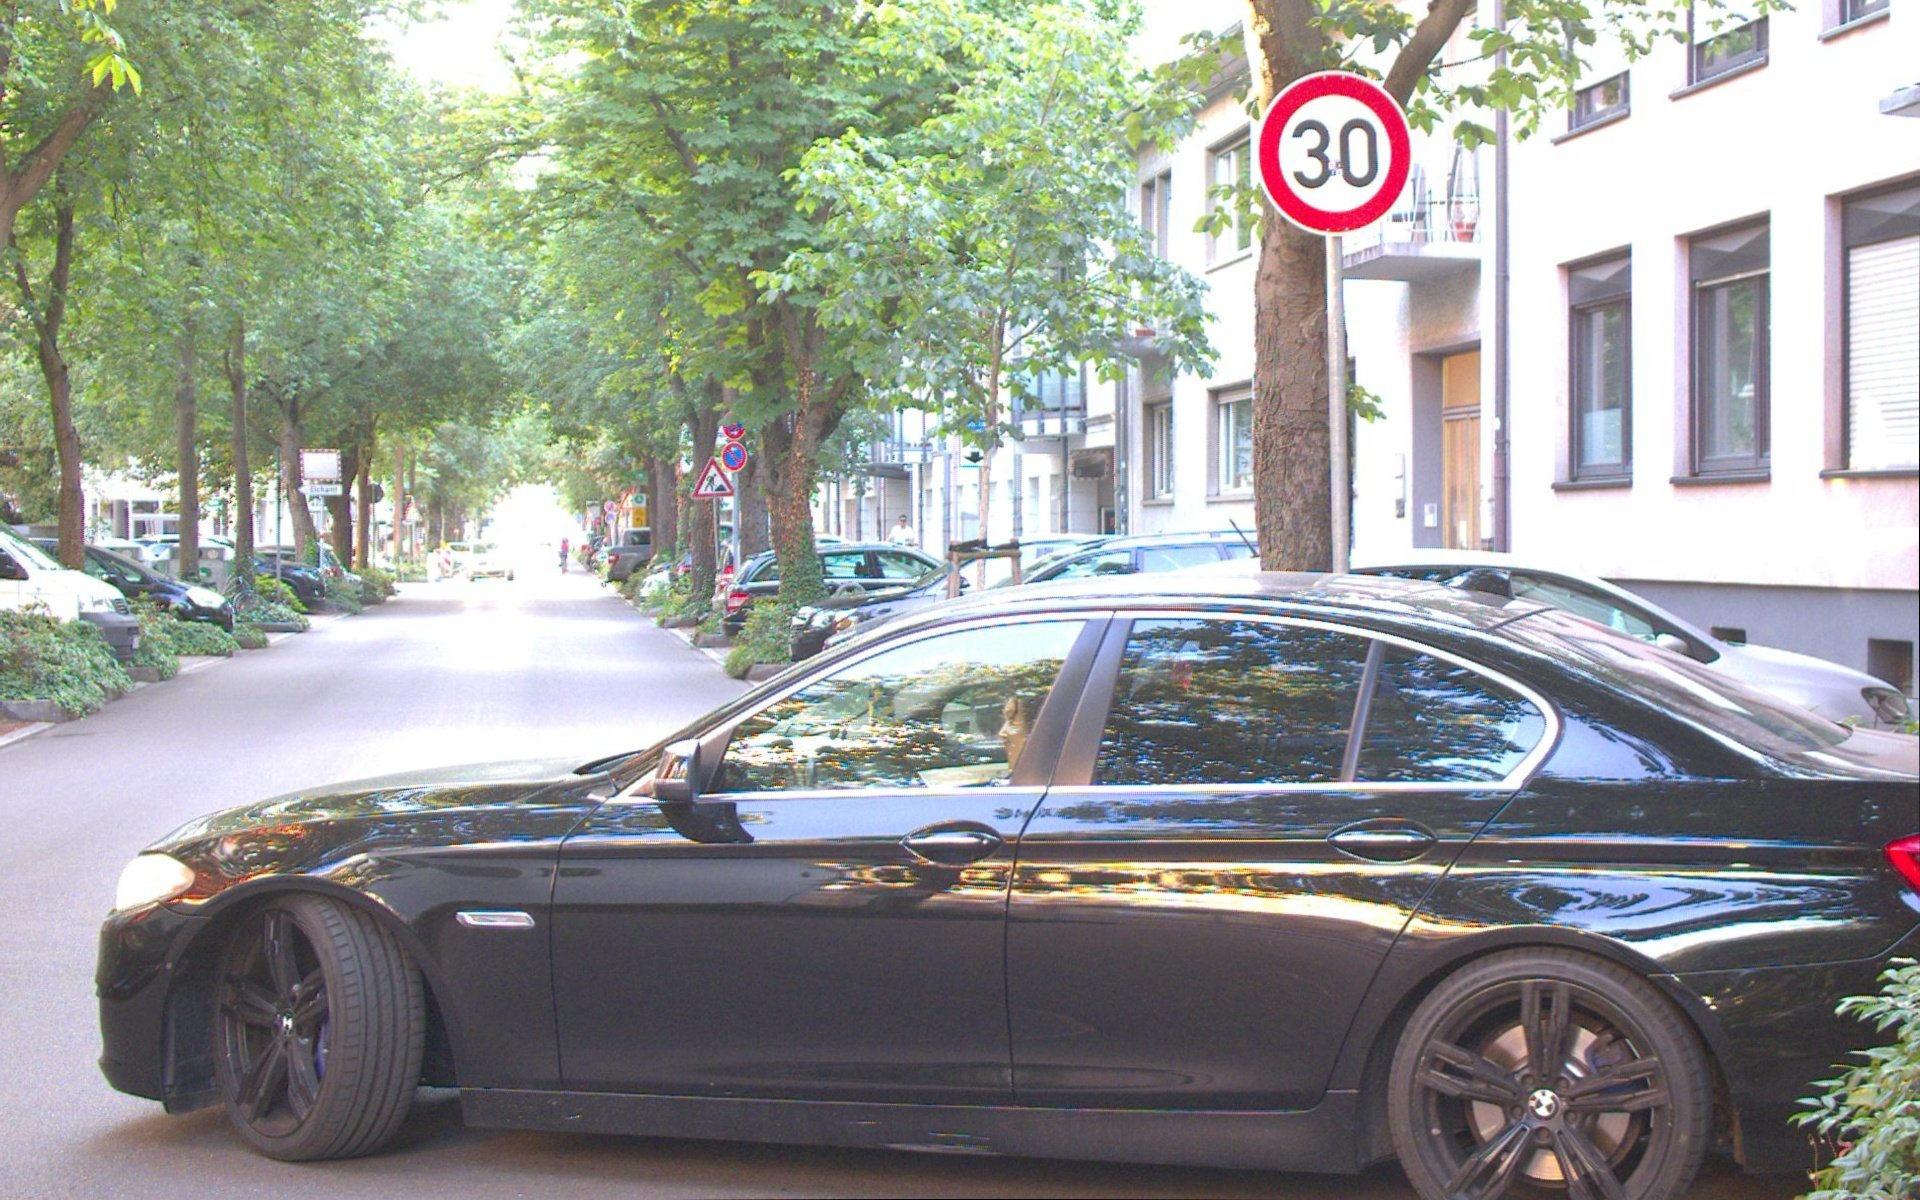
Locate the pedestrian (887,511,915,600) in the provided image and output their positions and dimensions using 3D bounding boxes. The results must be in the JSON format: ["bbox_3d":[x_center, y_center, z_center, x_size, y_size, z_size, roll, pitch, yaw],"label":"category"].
[{"bbox_3d":[-1.329,-1.007,77.594,0.589,2.007,0.669,0,1,-5],"label":"pedestrian"}]

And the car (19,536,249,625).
[{"bbox_3d":[-15.468,-0.377,64.510,3.967,1.614,1.785,0,1,-5],"label":"car"}]

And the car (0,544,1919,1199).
[{"bbox_3d":[0.202,0.612,8.373,4.749,1.475,1.799,0,1,18],"label":"car"}]

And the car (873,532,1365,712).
[{"bbox_3d":[1.329,0.159,29.694,3.967,1.471,1.785,-1,1,-8],"label":"car"}]

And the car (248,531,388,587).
[{"bbox_3d":[-19.162,-1.229,102.769,3.967,1.614,1.785,0,1,-5],"label":"car"}]

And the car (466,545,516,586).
[{"bbox_3d":[-18.065,-1.347,132.542,1.779,1.557,4.169,0,1,-6],"label":"car"}]

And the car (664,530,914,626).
[{"bbox_3d":[-2.852,-0.381,56.827,3.967,1.522,1.785,-1,1,-8],"label":"car"}]

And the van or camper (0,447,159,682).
[{"bbox_3d":[-11.131,-0.381,37.047,4.662,2.470,2.000,0,1,-7],"label":"van or camper"}]

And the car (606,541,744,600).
[{"bbox_3d":[-8.359,-0.882,100.778,3.967,1.678,1.785,0,1,-5],"label":"car"}]

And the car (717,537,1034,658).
[{"bbox_3d":[-1.135,-0.050,44.963,3.967,1.522,1.785,-1,1,-7],"label":"car"}]

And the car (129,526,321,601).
[{"bbox_3d":[-16.260,-0.809,76.165,3.967,1.614,1.785,0,1,-5],"label":"car"}]

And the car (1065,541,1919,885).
[{"bbox_3d":[2.567,0.473,16.079,3.908,1.471,1.665,-1,1,-8],"label":"car"}]

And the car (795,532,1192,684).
[{"bbox_3d":[0.318,0.061,36.153,3.967,1.522,1.785,-1,1,-7],"label":"car"}]

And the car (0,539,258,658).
[{"bbox_3d":[-11.929,-0.035,48.045,3.967,1.614,1.785,0,1,-6],"label":"car"}]

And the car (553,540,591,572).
[{"bbox_3d":[-19.138,-2.201,169.681,1.822,1.525,4.001,-1,1,-6],"label":"car"}]
